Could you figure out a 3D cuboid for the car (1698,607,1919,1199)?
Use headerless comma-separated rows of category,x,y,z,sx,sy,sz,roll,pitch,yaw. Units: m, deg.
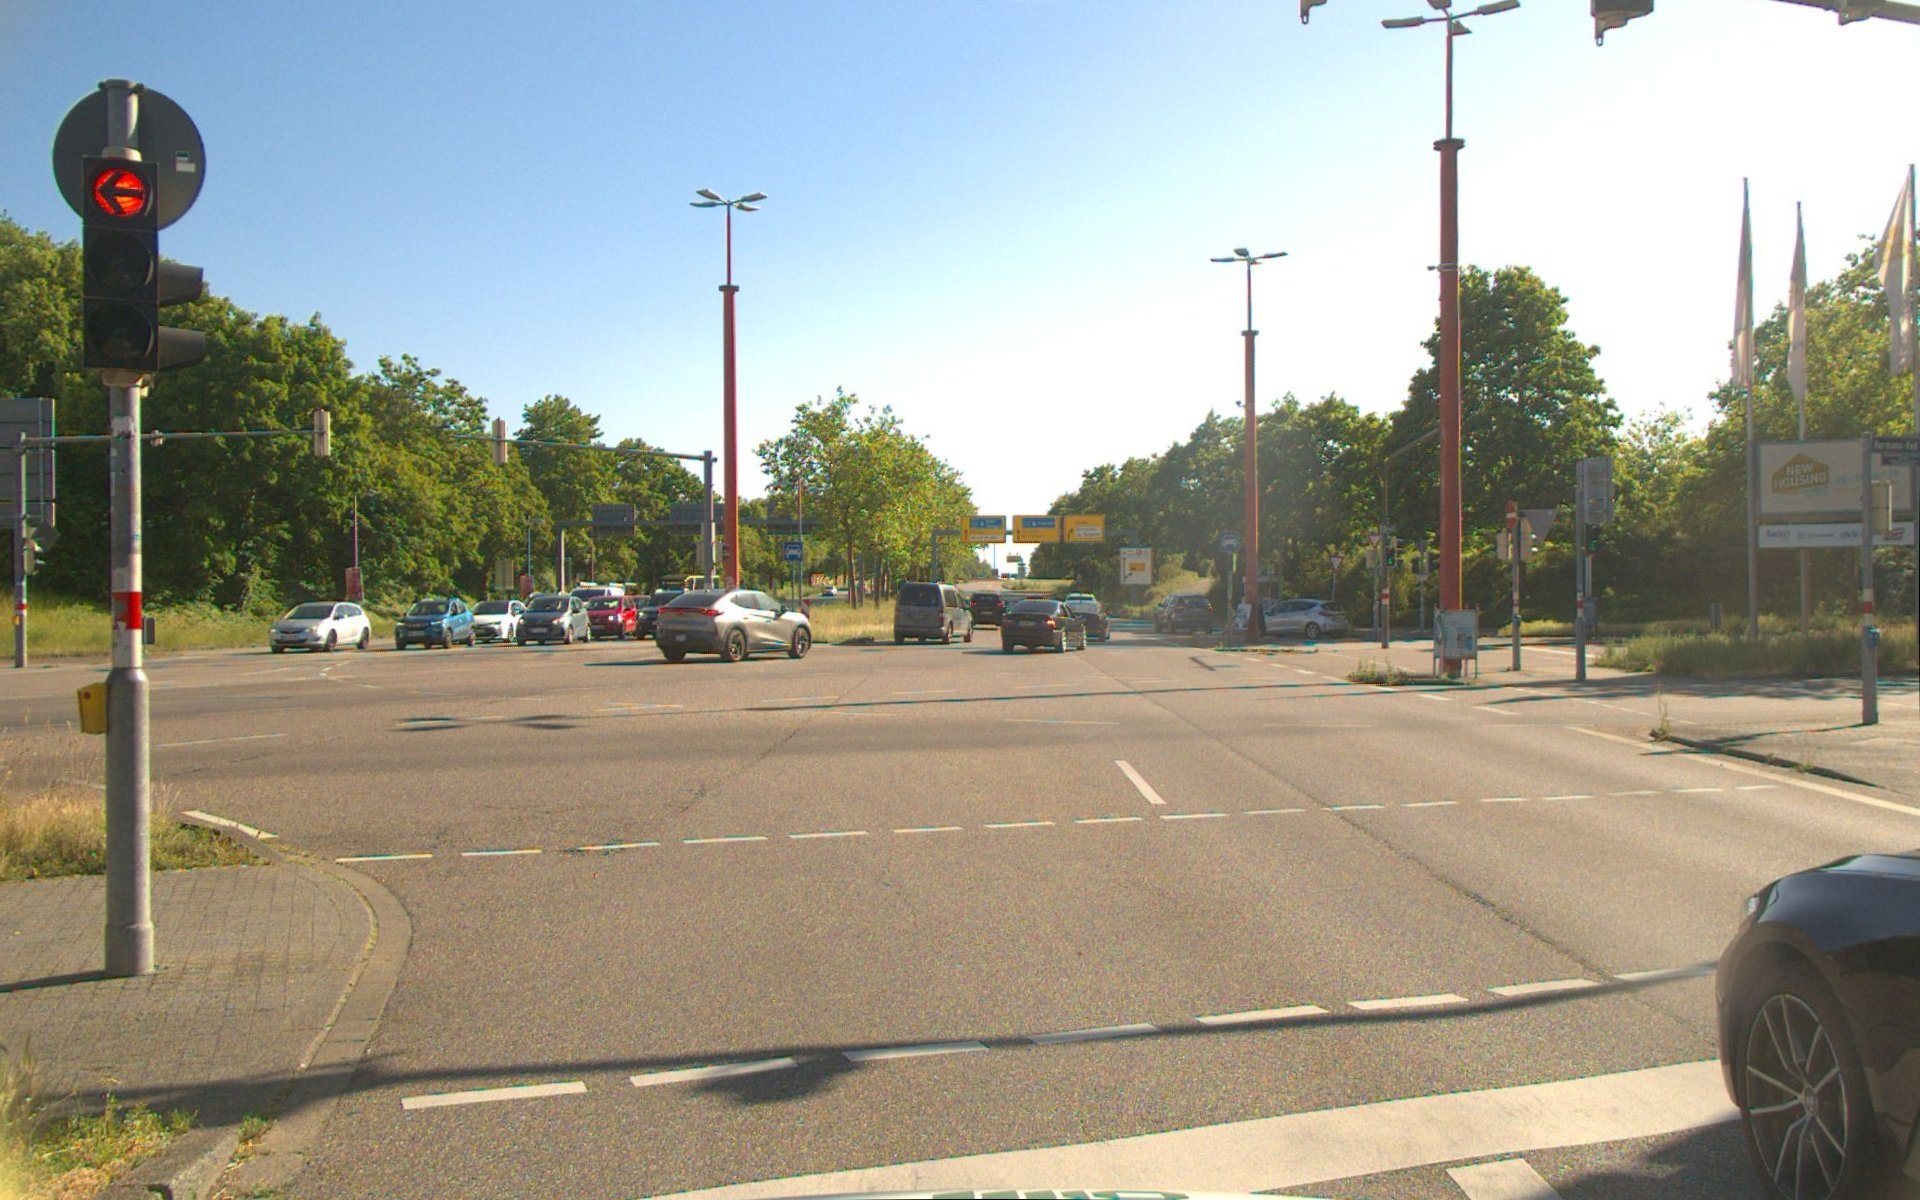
car,2.920,0.735,2.360,1.831,1.422,4.444,0,0,1

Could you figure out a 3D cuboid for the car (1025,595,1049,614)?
car,6.158,0.342,132.259,1.646,1.460,4.064,0,0,-1

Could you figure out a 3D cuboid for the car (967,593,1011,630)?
car,1.309,0.488,72.592,1.813,1.572,4.264,0,0,3

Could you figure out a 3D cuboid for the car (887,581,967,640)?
car,-0.972,0.310,51.325,1.806,1.738,4.311,0,0,8

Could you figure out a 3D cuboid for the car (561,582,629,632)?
car,-15.585,0.309,70.872,1.855,2.061,5.221,1,-1,-2

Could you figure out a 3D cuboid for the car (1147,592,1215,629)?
car,9.459,0.436,71.069,1.746,1.511,4.321,0,0,-9

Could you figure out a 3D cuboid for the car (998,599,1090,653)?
car,2.358,0.686,45.432,1.722,1.373,4.366,0,0,14

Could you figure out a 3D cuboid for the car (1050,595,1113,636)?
car,4.258,0.505,57.442,1.722,1.373,4.367,0,0,10

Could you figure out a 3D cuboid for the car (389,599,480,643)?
car,-16.053,0.612,50.672,1.704,1.265,3.611,0,0,-2

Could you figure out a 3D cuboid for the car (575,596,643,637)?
car,-12.280,0.553,58.072,1.704,1.386,3.611,0,0,-2

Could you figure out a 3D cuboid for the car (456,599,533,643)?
car,-15.930,0.701,56.790,1.704,1.436,3.611,0,0,-2

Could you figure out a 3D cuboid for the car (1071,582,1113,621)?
car,5.758,0.066,72.357,1.784,1.665,4.255,0,0,4

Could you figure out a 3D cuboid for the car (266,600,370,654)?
car,-19.476,0.776,50.311,1.725,1.559,3.934,0,0,-2

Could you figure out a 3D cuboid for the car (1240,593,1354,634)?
car,12.541,0.486,61.735,1.671,1.493,3.930,0,0,-44

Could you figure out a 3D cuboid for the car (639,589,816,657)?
car,-5.223,0.488,37.712,1.795,1.447,4.432,0,0,27

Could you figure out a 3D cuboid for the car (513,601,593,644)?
car,-12.672,0.670,51.694,1.704,1.265,3.611,0,0,-2

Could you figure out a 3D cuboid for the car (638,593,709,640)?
car,-9.699,0.525,56.220,1.782,1.534,3.999,0,0,-1
